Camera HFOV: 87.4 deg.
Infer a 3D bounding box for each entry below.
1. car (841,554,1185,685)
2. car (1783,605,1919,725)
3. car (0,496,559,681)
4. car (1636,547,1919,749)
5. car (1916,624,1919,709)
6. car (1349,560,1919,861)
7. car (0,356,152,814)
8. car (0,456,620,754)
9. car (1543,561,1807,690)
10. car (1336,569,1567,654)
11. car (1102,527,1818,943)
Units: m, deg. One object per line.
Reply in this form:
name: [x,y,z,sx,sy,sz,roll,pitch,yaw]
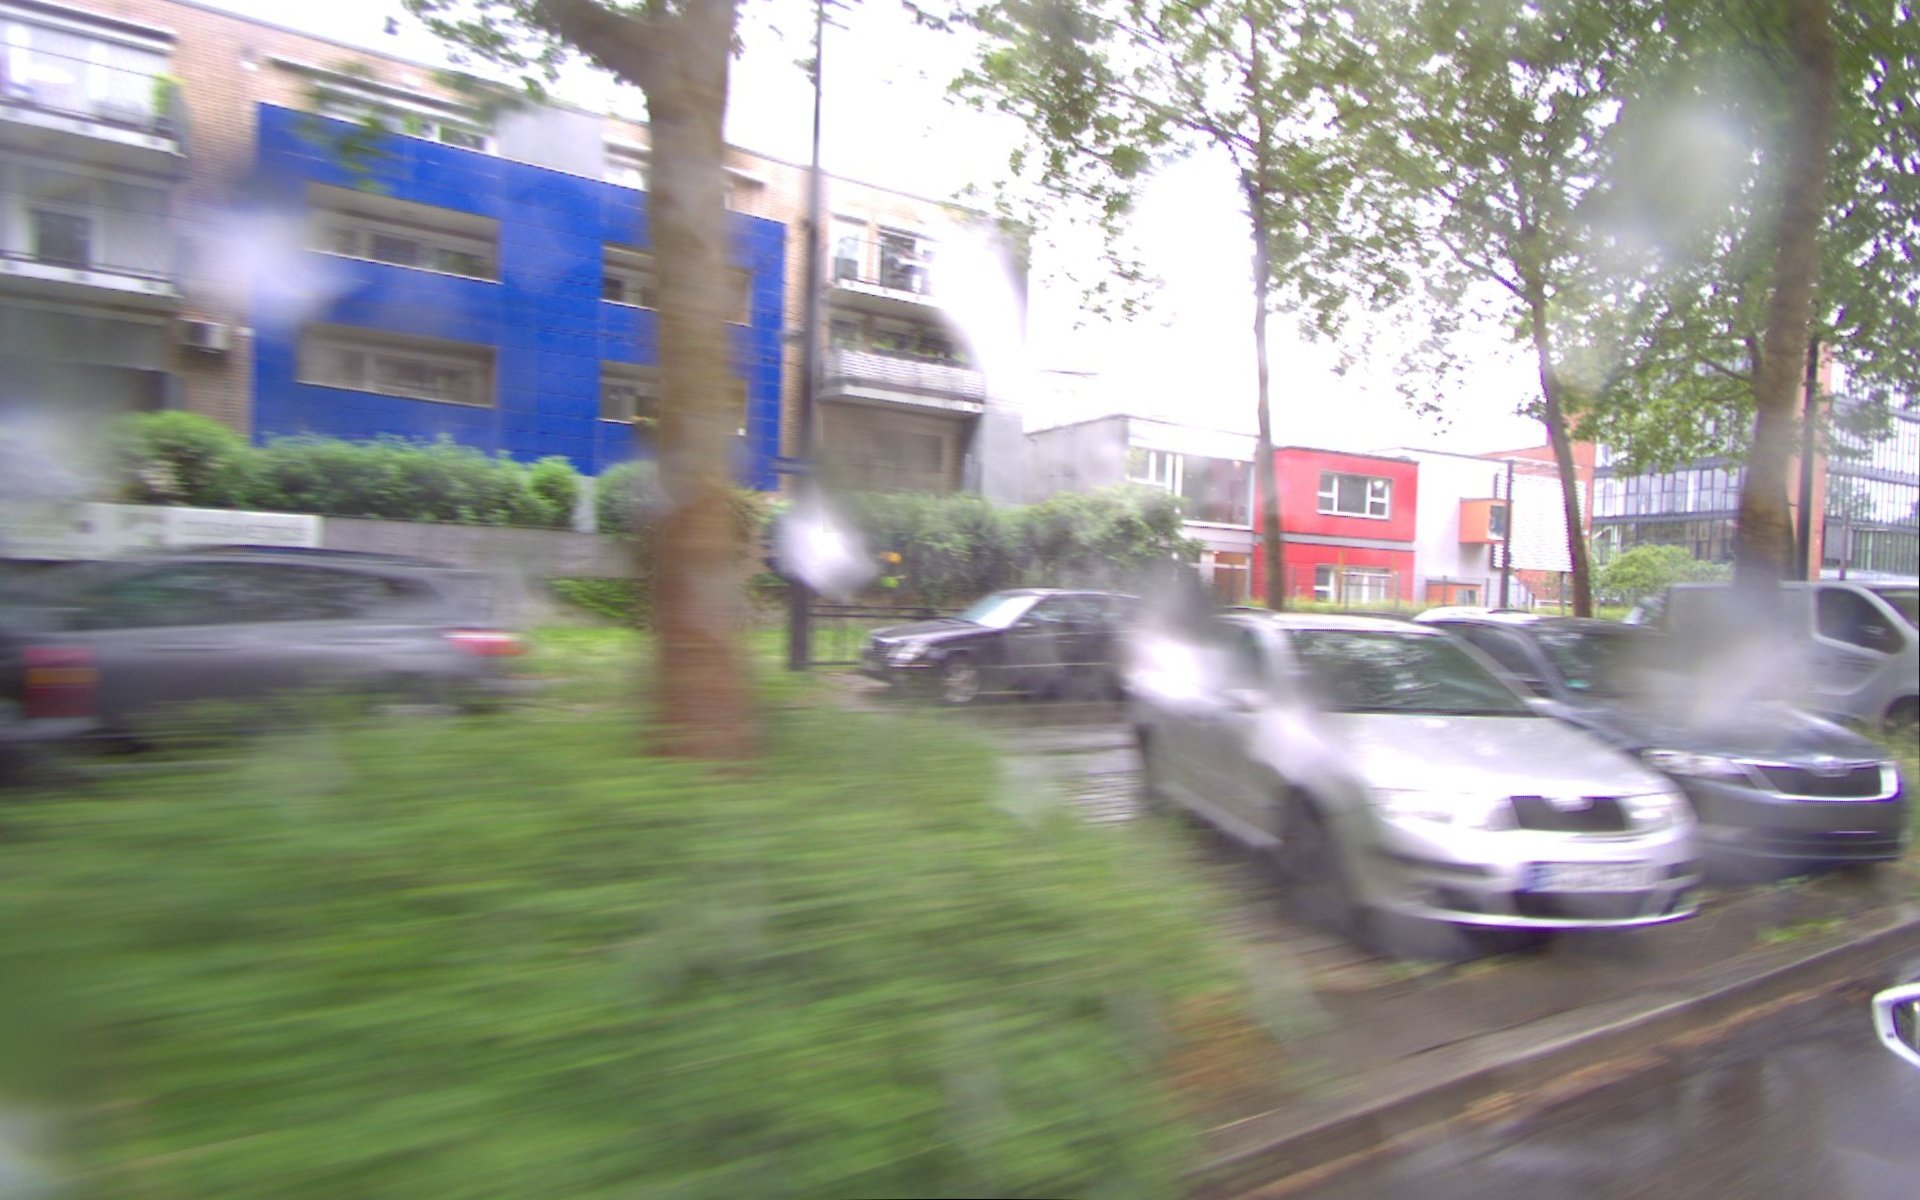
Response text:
car: [0.723,0.272,13.583,4.182,1.540,1.987,2,1,-26]
car: [12.938,0.858,12.871,1.688,1.501,3.787,3,-1,1]
car: [-6.259,-0.054,9.556,4.214,1.408,1.981,2,1,-34]
car: [10.597,0.543,11.642,2.061,2.003,5.132,3,-1,1]
car: [17.807,1.192,15.502,1.740,1.501,4.561,3,-1,0]
car: [4.596,0.514,7.150,1.714,1.456,4.313,3,1,-3]
car: [-4.443,-0.085,2.128,1.892,1.682,4.417,3,0,-1]
car: [-4.778,0.039,7.120,4.094,1.662,1.982,3,2,-32]
car: [13.092,0.489,18.322,4.971,2.040,1.983,3,2,-31]
car: [9.279,0.228,18.884,4.226,1.439,1.982,2,1,-33]
car: [2.192,0.474,5.793,1.715,1.519,4.064,3,1,-6]
